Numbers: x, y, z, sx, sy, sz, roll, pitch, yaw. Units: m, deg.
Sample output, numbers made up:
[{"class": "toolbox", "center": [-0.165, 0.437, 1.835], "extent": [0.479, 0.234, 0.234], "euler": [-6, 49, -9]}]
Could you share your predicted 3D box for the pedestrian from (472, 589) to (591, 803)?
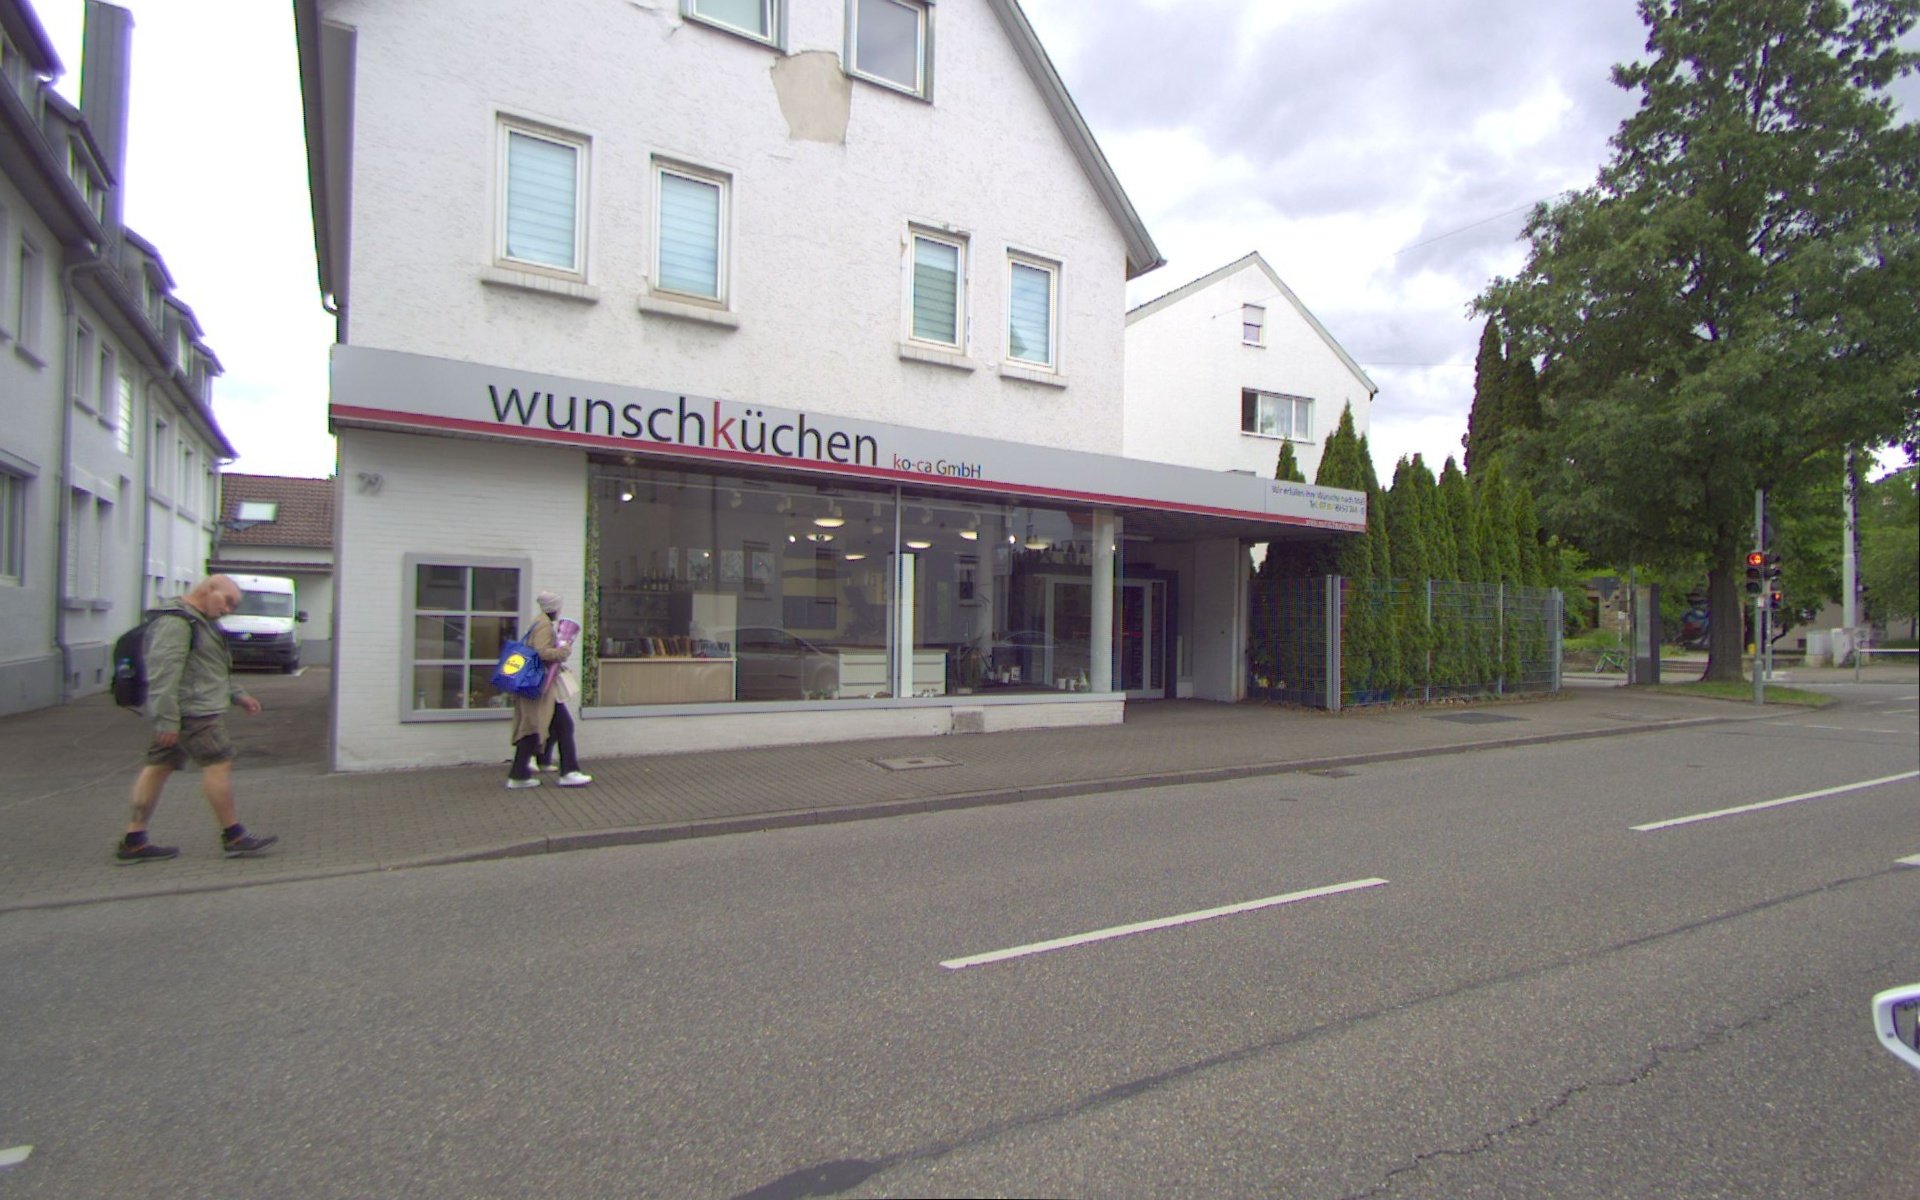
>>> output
[{"class": "pedestrian", "center": [-3.558, 0.756, 8.318], "extent": [0.784, 1.638, 0.747], "euler": [1, 2, -31]}]

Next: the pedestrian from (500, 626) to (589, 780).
[{"class": "pedestrian", "center": [-3.739, 0.899, 9.028], "extent": [0.647, 1.297, 0.596], "euler": [1, 1, -31]}]

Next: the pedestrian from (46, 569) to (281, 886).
[{"class": "pedestrian", "center": [-4.826, 0.714, 6.172], "extent": [1.008, 1.767, 0.747], "euler": [1, 1, -31]}]

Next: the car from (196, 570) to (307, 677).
[{"class": "car", "center": [-19.055, 0.590, 27.260], "extent": [1.938, 2.541, 5.943], "euler": [4, -2, -32]}]
